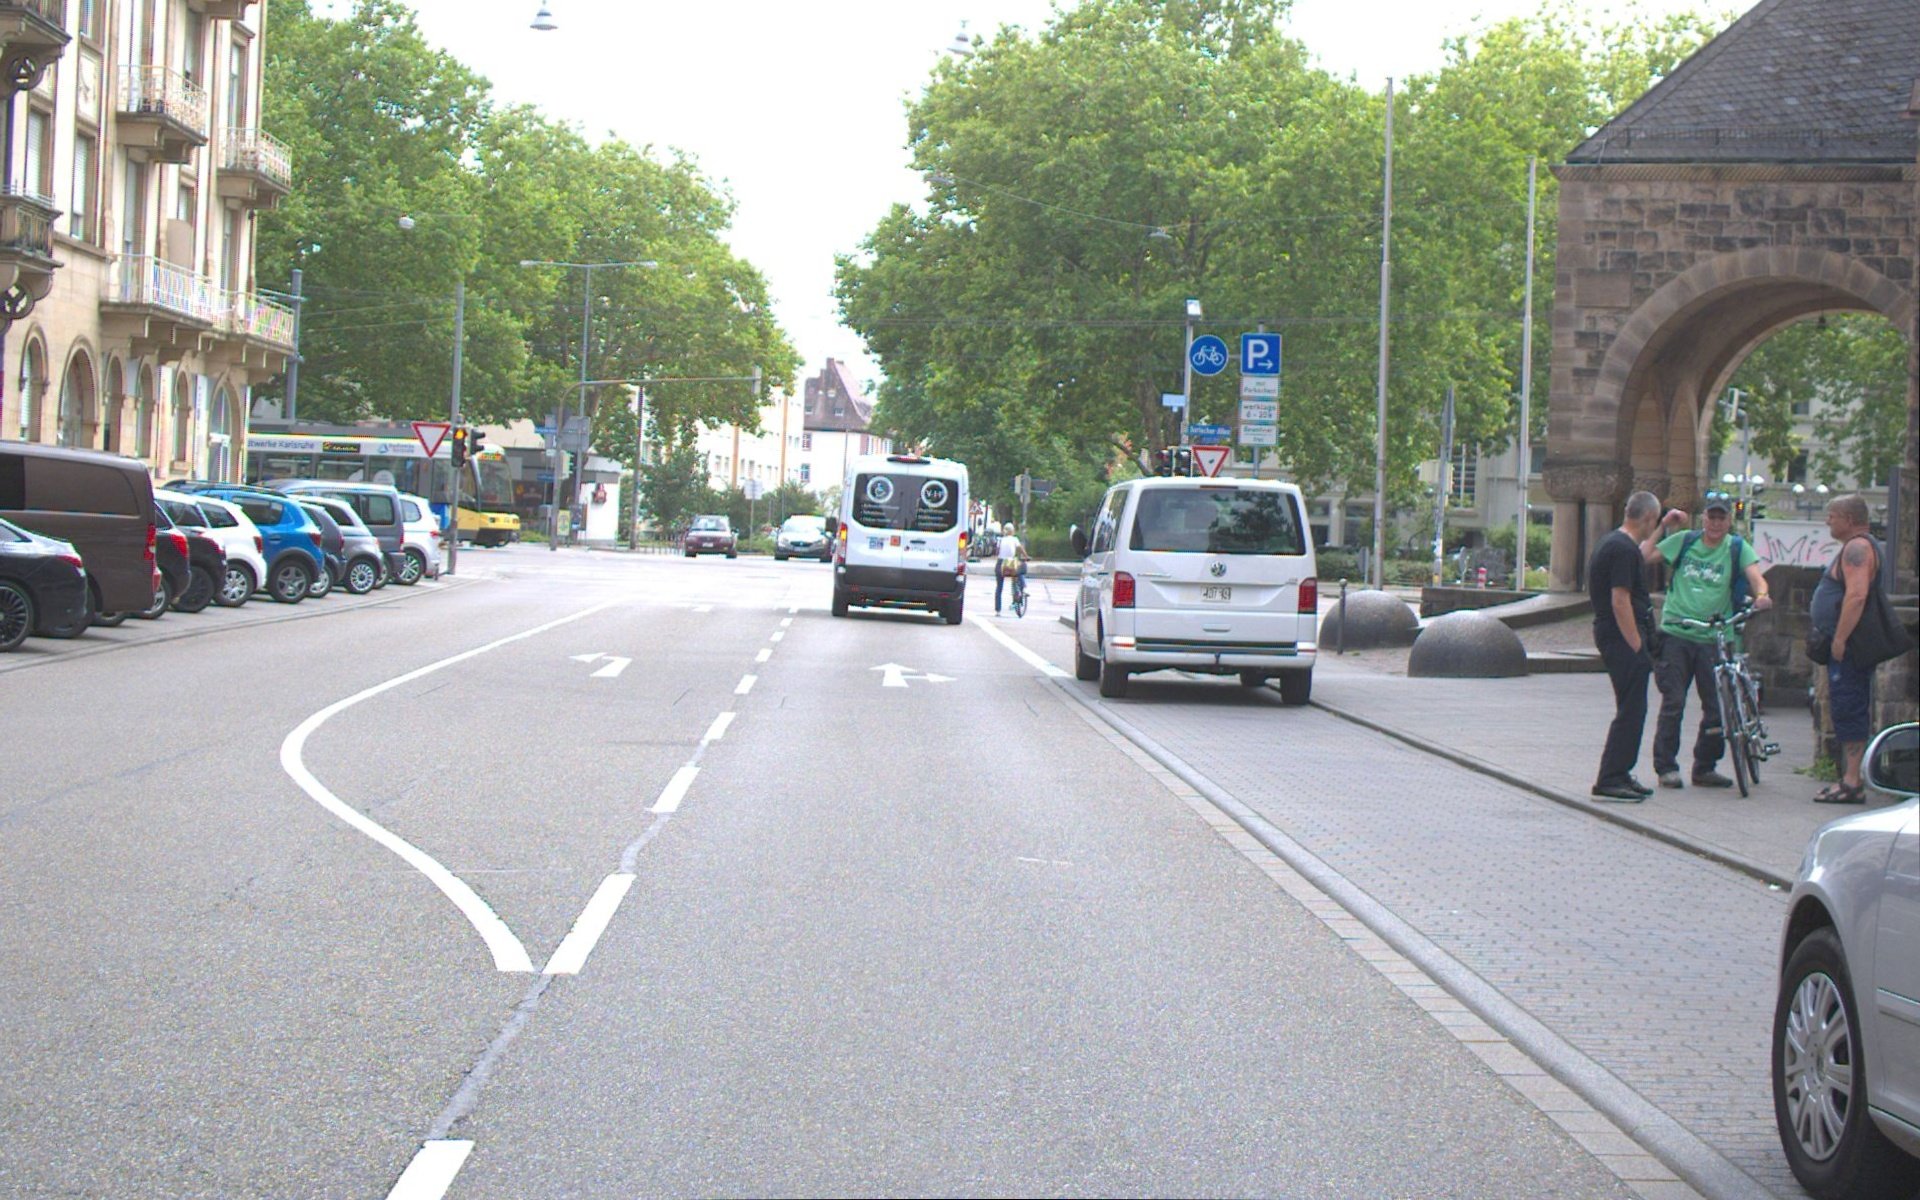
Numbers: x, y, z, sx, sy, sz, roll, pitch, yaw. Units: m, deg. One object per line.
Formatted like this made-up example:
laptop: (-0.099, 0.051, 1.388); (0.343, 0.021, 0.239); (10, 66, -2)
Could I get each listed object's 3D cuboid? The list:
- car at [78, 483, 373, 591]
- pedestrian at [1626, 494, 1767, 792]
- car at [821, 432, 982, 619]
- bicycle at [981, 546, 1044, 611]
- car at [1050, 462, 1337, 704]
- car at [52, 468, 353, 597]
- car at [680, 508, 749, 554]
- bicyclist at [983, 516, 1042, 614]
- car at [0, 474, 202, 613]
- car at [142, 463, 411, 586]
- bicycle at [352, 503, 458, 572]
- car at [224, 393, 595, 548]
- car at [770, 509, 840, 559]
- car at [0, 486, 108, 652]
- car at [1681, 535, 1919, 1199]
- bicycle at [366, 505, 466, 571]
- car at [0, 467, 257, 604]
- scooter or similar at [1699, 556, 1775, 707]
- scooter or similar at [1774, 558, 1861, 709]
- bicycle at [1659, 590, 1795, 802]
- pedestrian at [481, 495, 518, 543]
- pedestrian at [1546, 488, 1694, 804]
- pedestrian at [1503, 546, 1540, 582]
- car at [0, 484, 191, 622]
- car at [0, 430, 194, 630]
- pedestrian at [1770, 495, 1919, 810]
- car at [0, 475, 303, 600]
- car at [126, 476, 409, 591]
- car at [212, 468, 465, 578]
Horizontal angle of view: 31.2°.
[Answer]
car: (-11.088, -0.940, 51.991); (3.891, 1.438, 1.837); (2, 2, -37)
pedestrian: (4.334, 0.250, 20.247); (0.530, 1.714, 0.509); (2, 1, -24)
car: (-0.971, -1.207, 53.827); (2.181, 2.638, 4.629); (4, 2, -3)
bicycle: (0.921, -0.392, 61.107); (0.902, 1.071, 1.970); (3, 1, -4)
car: (2.058, -0.244, 31.900); (2.014, 2.022, 5.124); (1, 2, -3)
car: (-10.783, -0.953, 49.033); (3.766, 1.646, 1.724); (2, 2, -38)
car: (-8.417, -2.382, 118.223); (1.621, 1.471, 3.999); (3, 2, 6)
bicyclist: (0.937, -0.627, 61.136); (0.903, 1.677, 0.757); (3, 1, -4)
car: (-10.905, -0.684, 39.361); (3.984, 1.498, 1.631); (2, 2, -36)
car: (-11.440, -1.259, 57.661); (4.000, 1.872, 1.796); (2, 2, -40)
bicycle: (-10.546, -1.184, 65.310); (1.809, 1.116, 0.594); (6, 1, 3)
car: (-15.546, -3.664, 96.929); (9.897, 3.902, 3.451); (3, 1, 23)
car: (-5.272, -2.262, 117.285); (1.733, 1.586, 3.999); (3, 2, 6)
car: (-10.197, -0.445, 30.517); (4.657, 1.404, 1.900); (5, 1, -40)
car: (2.744, 0.680, 6.086); (1.755, 1.463, 4.419); (2, 2, -3)
bicycle: (-10.844, -1.230, 68.469); (1.877, 1.162, 0.497); (5, 1, 19)
car: (-10.974, -0.822, 42.616); (3.999, 1.559, 1.797); (2, 2, -33)
scooter or similar: (6.508, 0.248, 28.846); (0.544, 1.203, 1.442); (2, 2, 12)
scooter or similar: (7.129, 0.261, 28.565); (0.545, 1.203, 1.479); (3, 2, 18)
bicycle: (4.495, 0.533, 20.078); (0.533, 1.146, 1.751); (3, 1, 19)
pedestrian: (-14.882, -2.617, 111.088); (0.930, 1.509, 0.723); (3, 1, 13)
pedestrian: (3.661, 0.249, 19.090); (0.507, 1.714, 0.532); (2, 1, -24)
pedestrian: (19.458, -1.259, 119.147); (1.091, 1.232, 1.441); (1, 0, 3)
car: (-10.453, -0.540, 36.646); (4.001, 1.404, 1.796); (1, 2, -42)
car: (-10.444, -0.762, 33.711); (5.254, 1.903, 2.121); (2, 2, -36)
pedestrian: (4.932, 0.288, 19.177); (0.507, 1.714, 0.532); (2, 1, -23)
car: (-10.805, -0.826, 45.572); (3.674, 1.476, 1.742); (2, 2, -37)
car: (-11.059, -1.050, 55.031); (4.000, 1.646, 1.796); (2, 2, -40)
car: (-11.024, -1.356, 61.122); (4.000, 1.767, 1.796); (2, 2, -40)
